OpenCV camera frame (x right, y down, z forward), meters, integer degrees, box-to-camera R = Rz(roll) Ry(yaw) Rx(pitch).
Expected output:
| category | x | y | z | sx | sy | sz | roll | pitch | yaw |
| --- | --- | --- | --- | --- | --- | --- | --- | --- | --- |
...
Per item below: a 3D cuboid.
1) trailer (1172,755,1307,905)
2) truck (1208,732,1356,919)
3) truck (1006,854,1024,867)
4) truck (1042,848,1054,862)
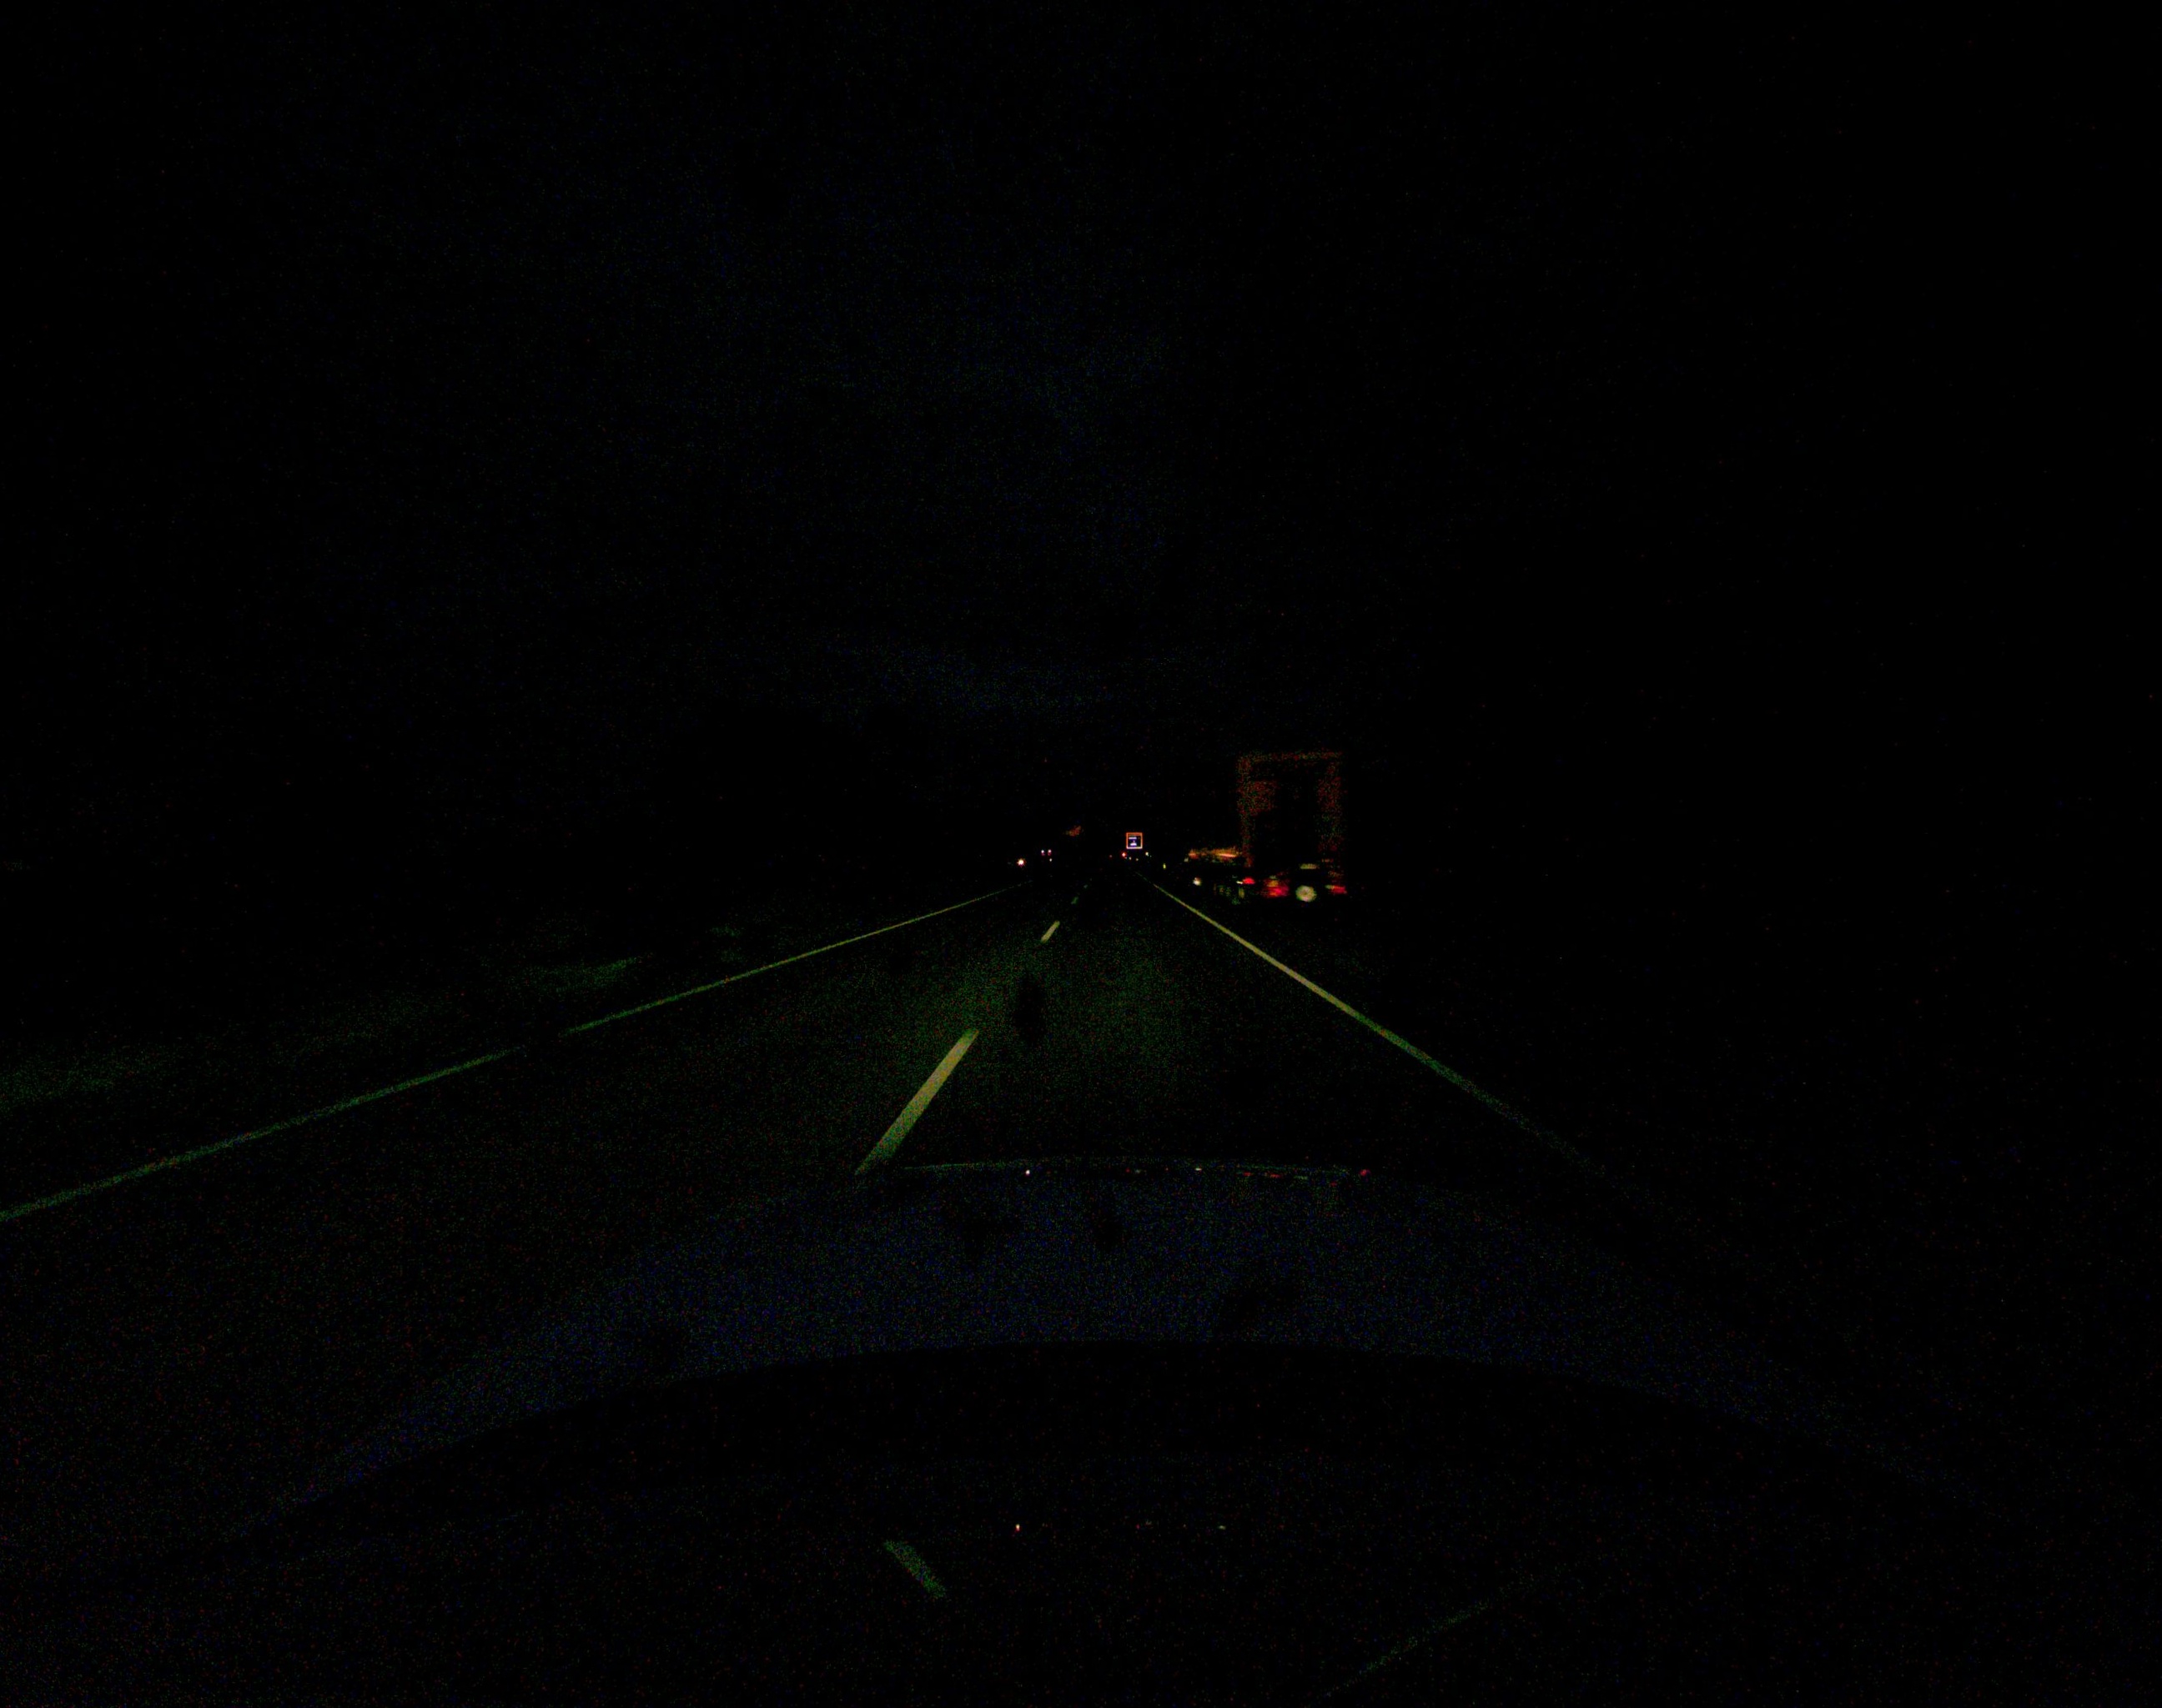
| category | x | y | z | sx | sy | sz | roll | pitch | yaw |
| --- | --- | --- | --- | --- | --- | --- | --- | --- | --- |
| trailer | 5.143 | -0.681 | 29.139 | 2.612 | 4.104 | 12.943 | -2 | 0 | 2 |
| truck | 4.852 | -0.642 | 20.808 | 2.569 | 4.071 | 6.134 | 0 | 0 | 3 |
| truck | -8.856 | 0.876 | 109.522 | 2.009 | 1.653 | 4.774 | 0 | 0 | 1 |
| truck | -7.960 | 0.249 | 197.159 | 2.210 | 3.445 | 6.720 | 0 | 0 | 3 |
